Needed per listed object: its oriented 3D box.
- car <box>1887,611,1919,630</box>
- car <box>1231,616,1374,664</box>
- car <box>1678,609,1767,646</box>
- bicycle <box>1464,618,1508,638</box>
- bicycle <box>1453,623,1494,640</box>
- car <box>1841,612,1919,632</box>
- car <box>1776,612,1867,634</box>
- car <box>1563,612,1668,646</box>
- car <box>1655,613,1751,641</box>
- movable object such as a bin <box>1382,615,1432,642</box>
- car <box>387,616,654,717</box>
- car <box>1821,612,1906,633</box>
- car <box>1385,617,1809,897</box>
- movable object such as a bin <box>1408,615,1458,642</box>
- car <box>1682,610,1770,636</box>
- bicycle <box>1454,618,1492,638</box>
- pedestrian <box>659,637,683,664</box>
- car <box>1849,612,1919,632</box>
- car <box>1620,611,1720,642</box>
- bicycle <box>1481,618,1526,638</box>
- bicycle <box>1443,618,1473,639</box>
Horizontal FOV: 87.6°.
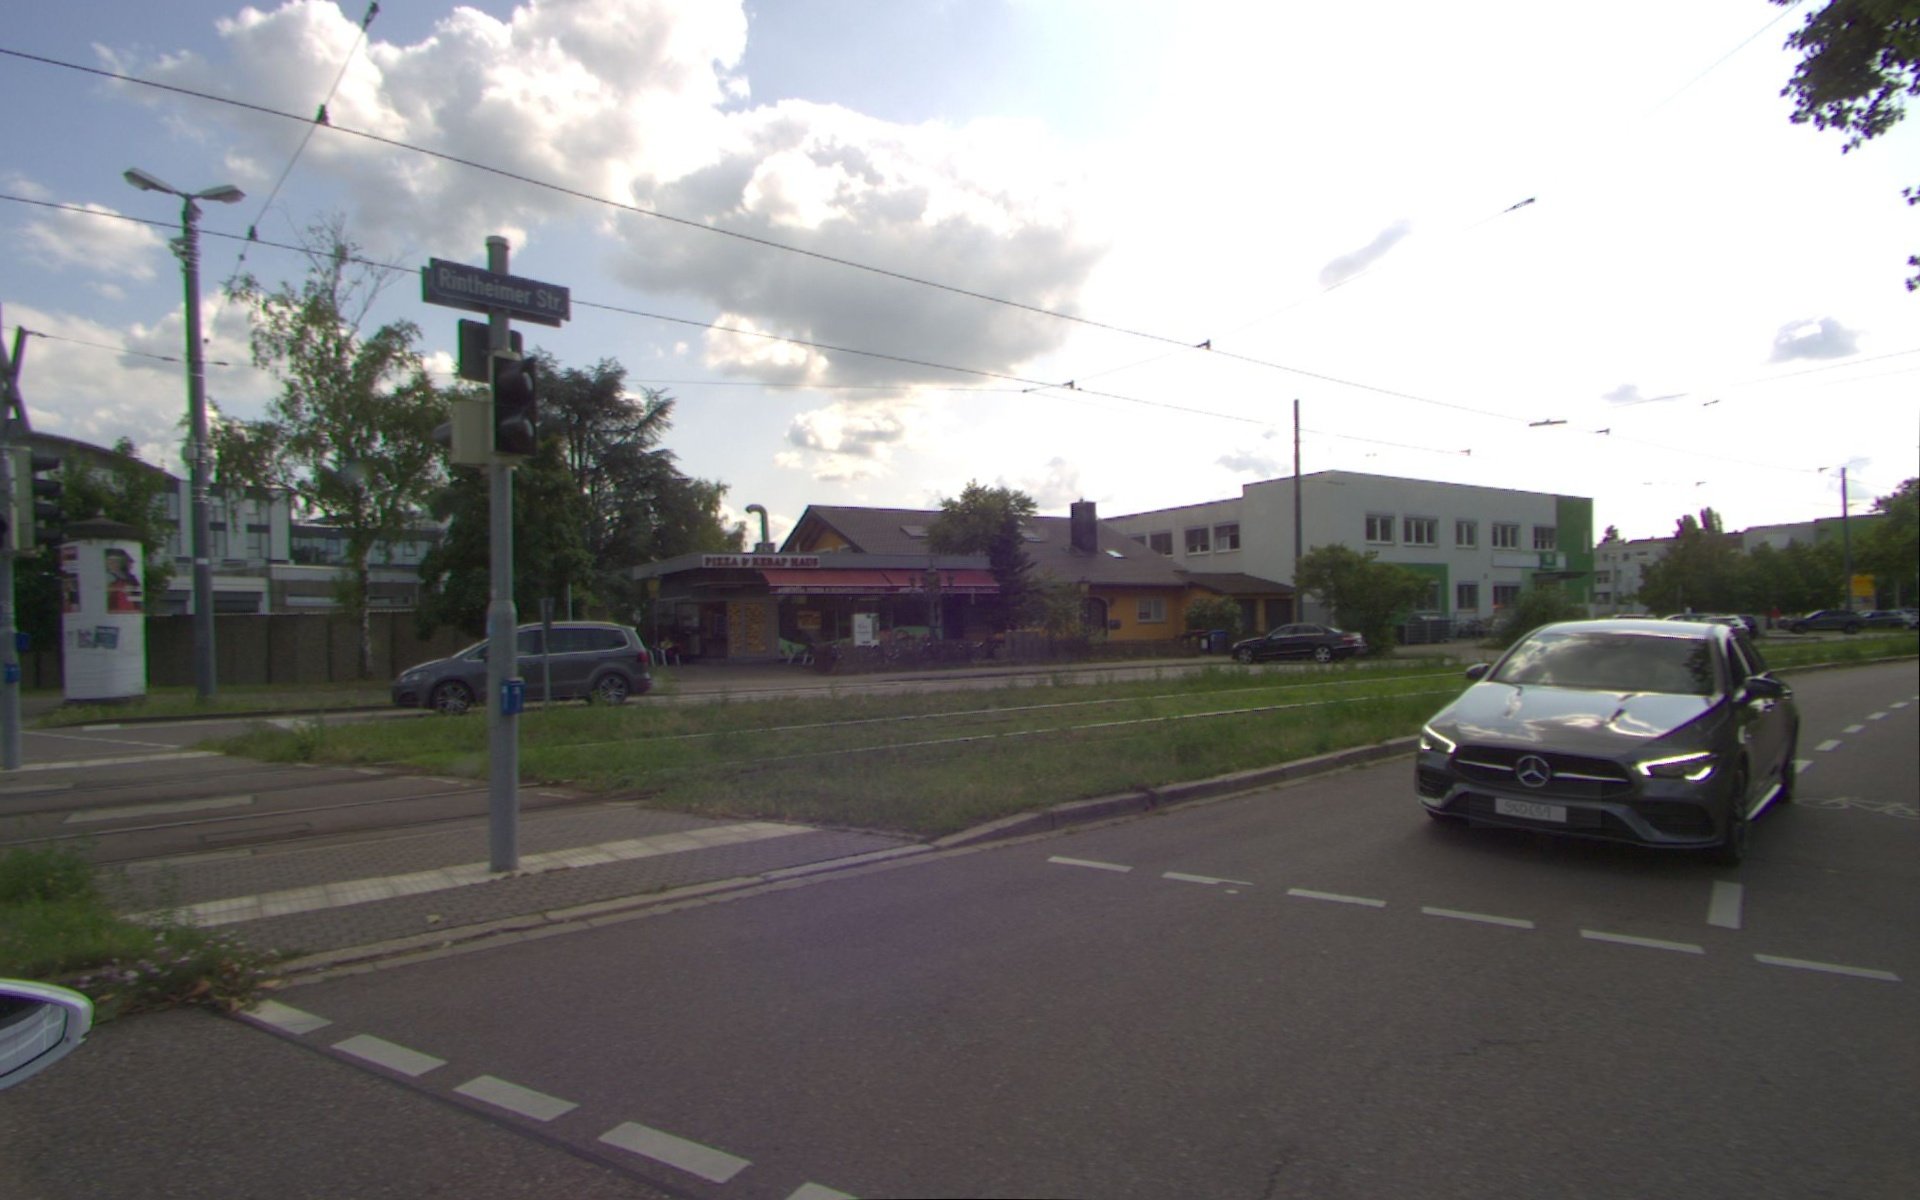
[{"bbox_3d":[72.974,1.544,75.548,4.259,1.381,1.890,-2,-1,36],"label":"car"},{"bbox_3d":[12.449,1.491,36.541,4.525,1.600,1.986,-3,-2,38],"label":"car"},{"bbox_3d":[36.311,1.280,47.688,4.253,1.650,1.892,0,-1,-30],"label":"car"},{"bbox_3d":[31.304,1.678,59.624,0.749,1.181,2.343,-1,-1,-26],"label":"bicycle"},{"bbox_3d":[30.430,1.870,59.334,0.720,0.982,2.150,-1,-1,-28],"label":"bicycle"},{"bbox_3d":[67.064,1.628,72.844,4.259,1.381,1.890,-2,-1,36],"label":"car"},{"bbox_3d":[56.010,1.497,65.203,4.257,1.381,1.891,-2,-1,34],"label":"car"},{"bbox_3d":[33.579,1.492,51.436,4.245,1.650,1.896,-2,-1,25],"label":"car"},{"bbox_3d":[41.421,1.501,55.953,4.109,1.523,1.852,-1,-1,31],"label":"car"},{"bbox_3d":[23.009,1.482,51.523,2.086,1.343,1.370,0,-1,-29],"label":"movable object such as a bin"},{"bbox_3d":[-8.771,1.248,20.098,4.675,1.744,1.989,0,-1,-32],"label":"car"},{"bbox_3d":[64.188,1.598,71.267,4.259,1.381,1.890,-2,-1,36],"label":"car"},{"bbox_3d":[5.041,0.875,7.594,1.821,1.412,4.564,2,1,44],"label":"car"},{"bbox_3d":[24.861,1.503,52.633,2.100,1.343,1.370,0,-1,-29],"label":"movable object such as a bin"},{"bbox_3d":[45.883,1.361,60.130,4.116,1.523,1.849,-1,-1,36],"label":"car"},{"bbox_3d":[29.078,1.584,56.818,0.727,1.095,1.786,-1,-1,-34],"label":"bicycle"},{"bbox_3d":[-10.504,1.828,36.369,0.716,0.941,0.773,0,1,-27],"label":"pedestrian"},{"bbox_3d":[69.092,1.653,74.419,4.259,1.381,1.890,-2,-1,36],"label":"car"},{"bbox_3d":[38.646,1.451,54.625,4.251,1.650,1.893,-1,-1,30],"label":"car"},{"bbox_3d":[32.481,1.696,59.861,0.736,1.181,2.410,-1,-1,-25],"label":"bicycle"},{"bbox_3d":[29.117,1.685,58.577,0.693,1.181,1.619,-1,-1,-16],"label":"bicycle"}]
